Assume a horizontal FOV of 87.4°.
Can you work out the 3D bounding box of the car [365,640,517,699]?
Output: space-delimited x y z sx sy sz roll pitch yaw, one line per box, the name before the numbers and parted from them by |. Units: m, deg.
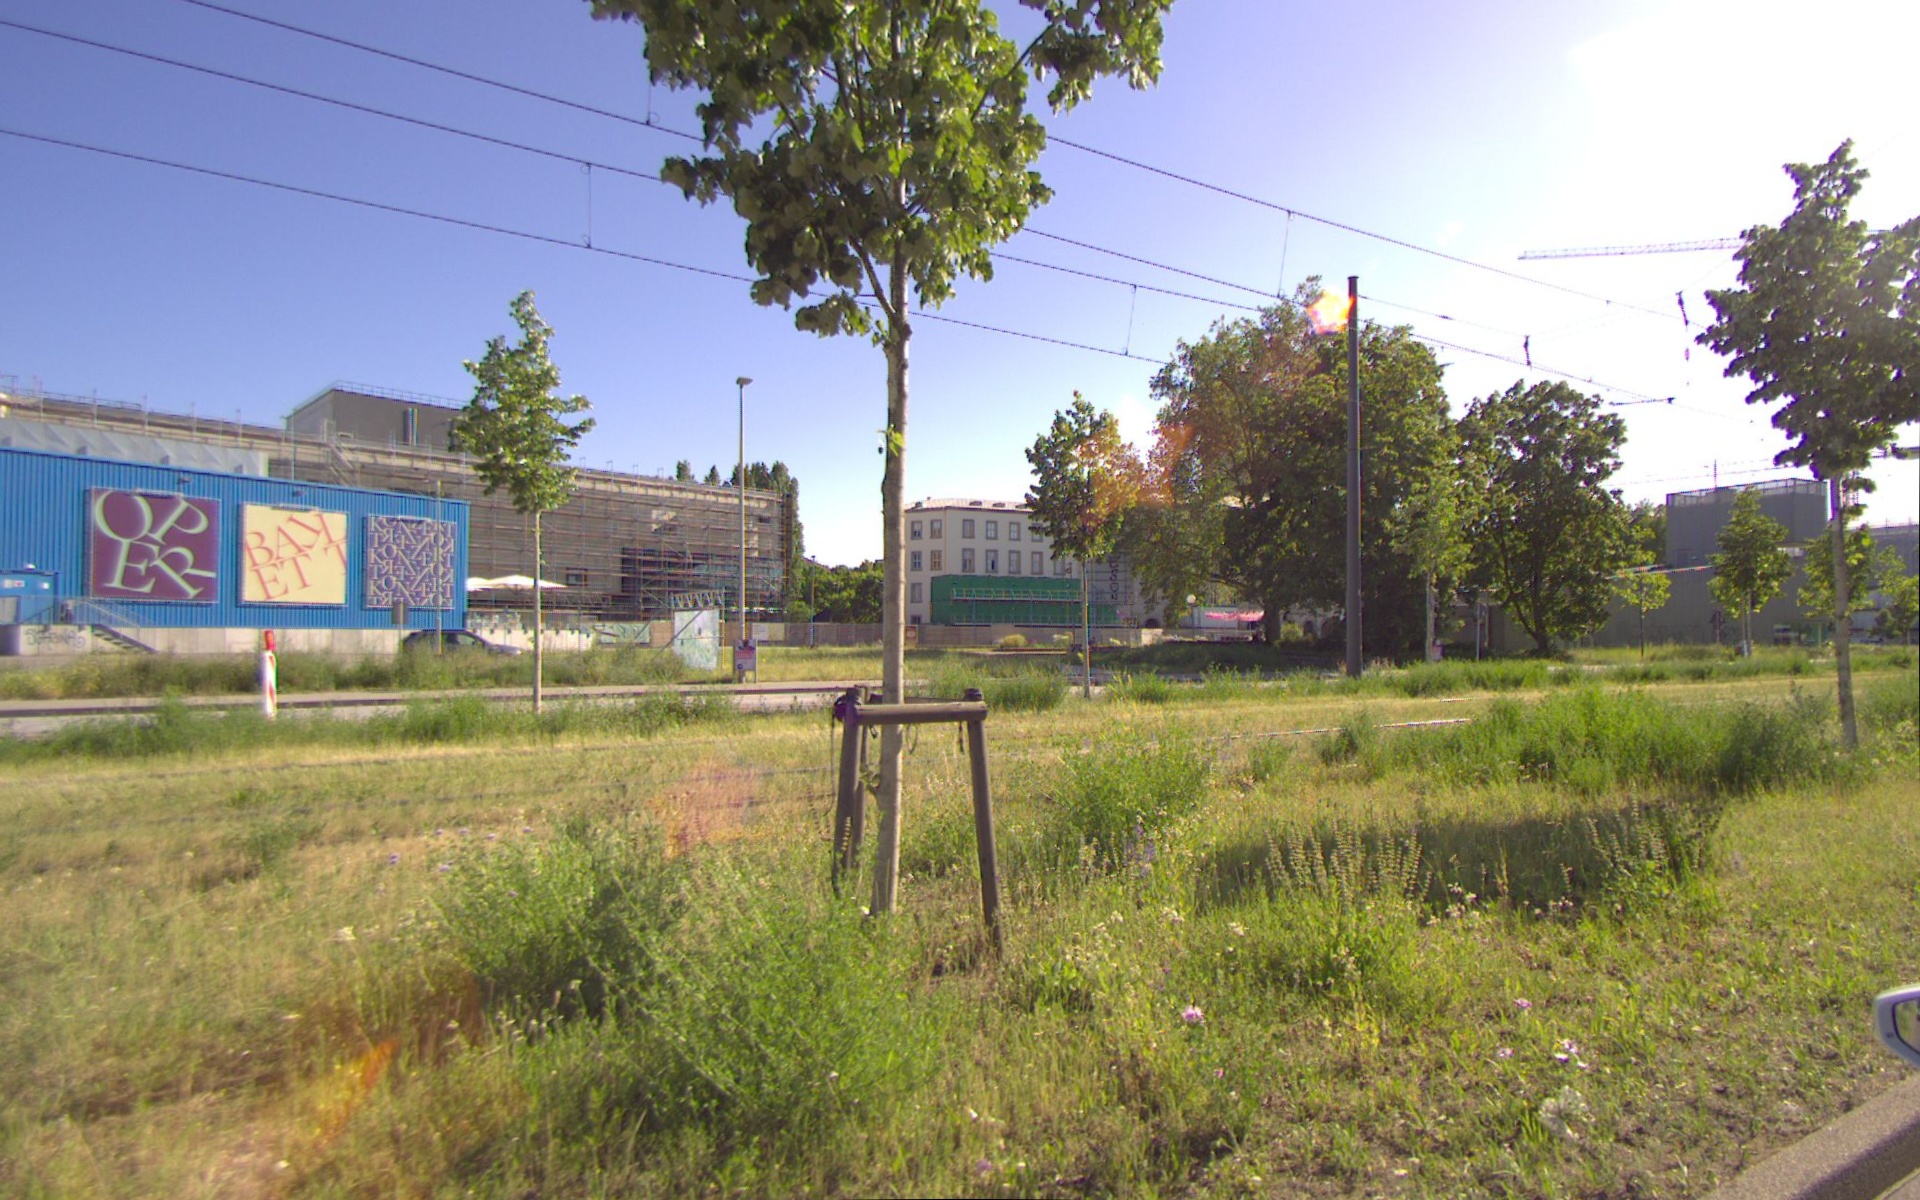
car | -15.068 2.005 29.214 3.814 1.556 1.550 2 0 -31
